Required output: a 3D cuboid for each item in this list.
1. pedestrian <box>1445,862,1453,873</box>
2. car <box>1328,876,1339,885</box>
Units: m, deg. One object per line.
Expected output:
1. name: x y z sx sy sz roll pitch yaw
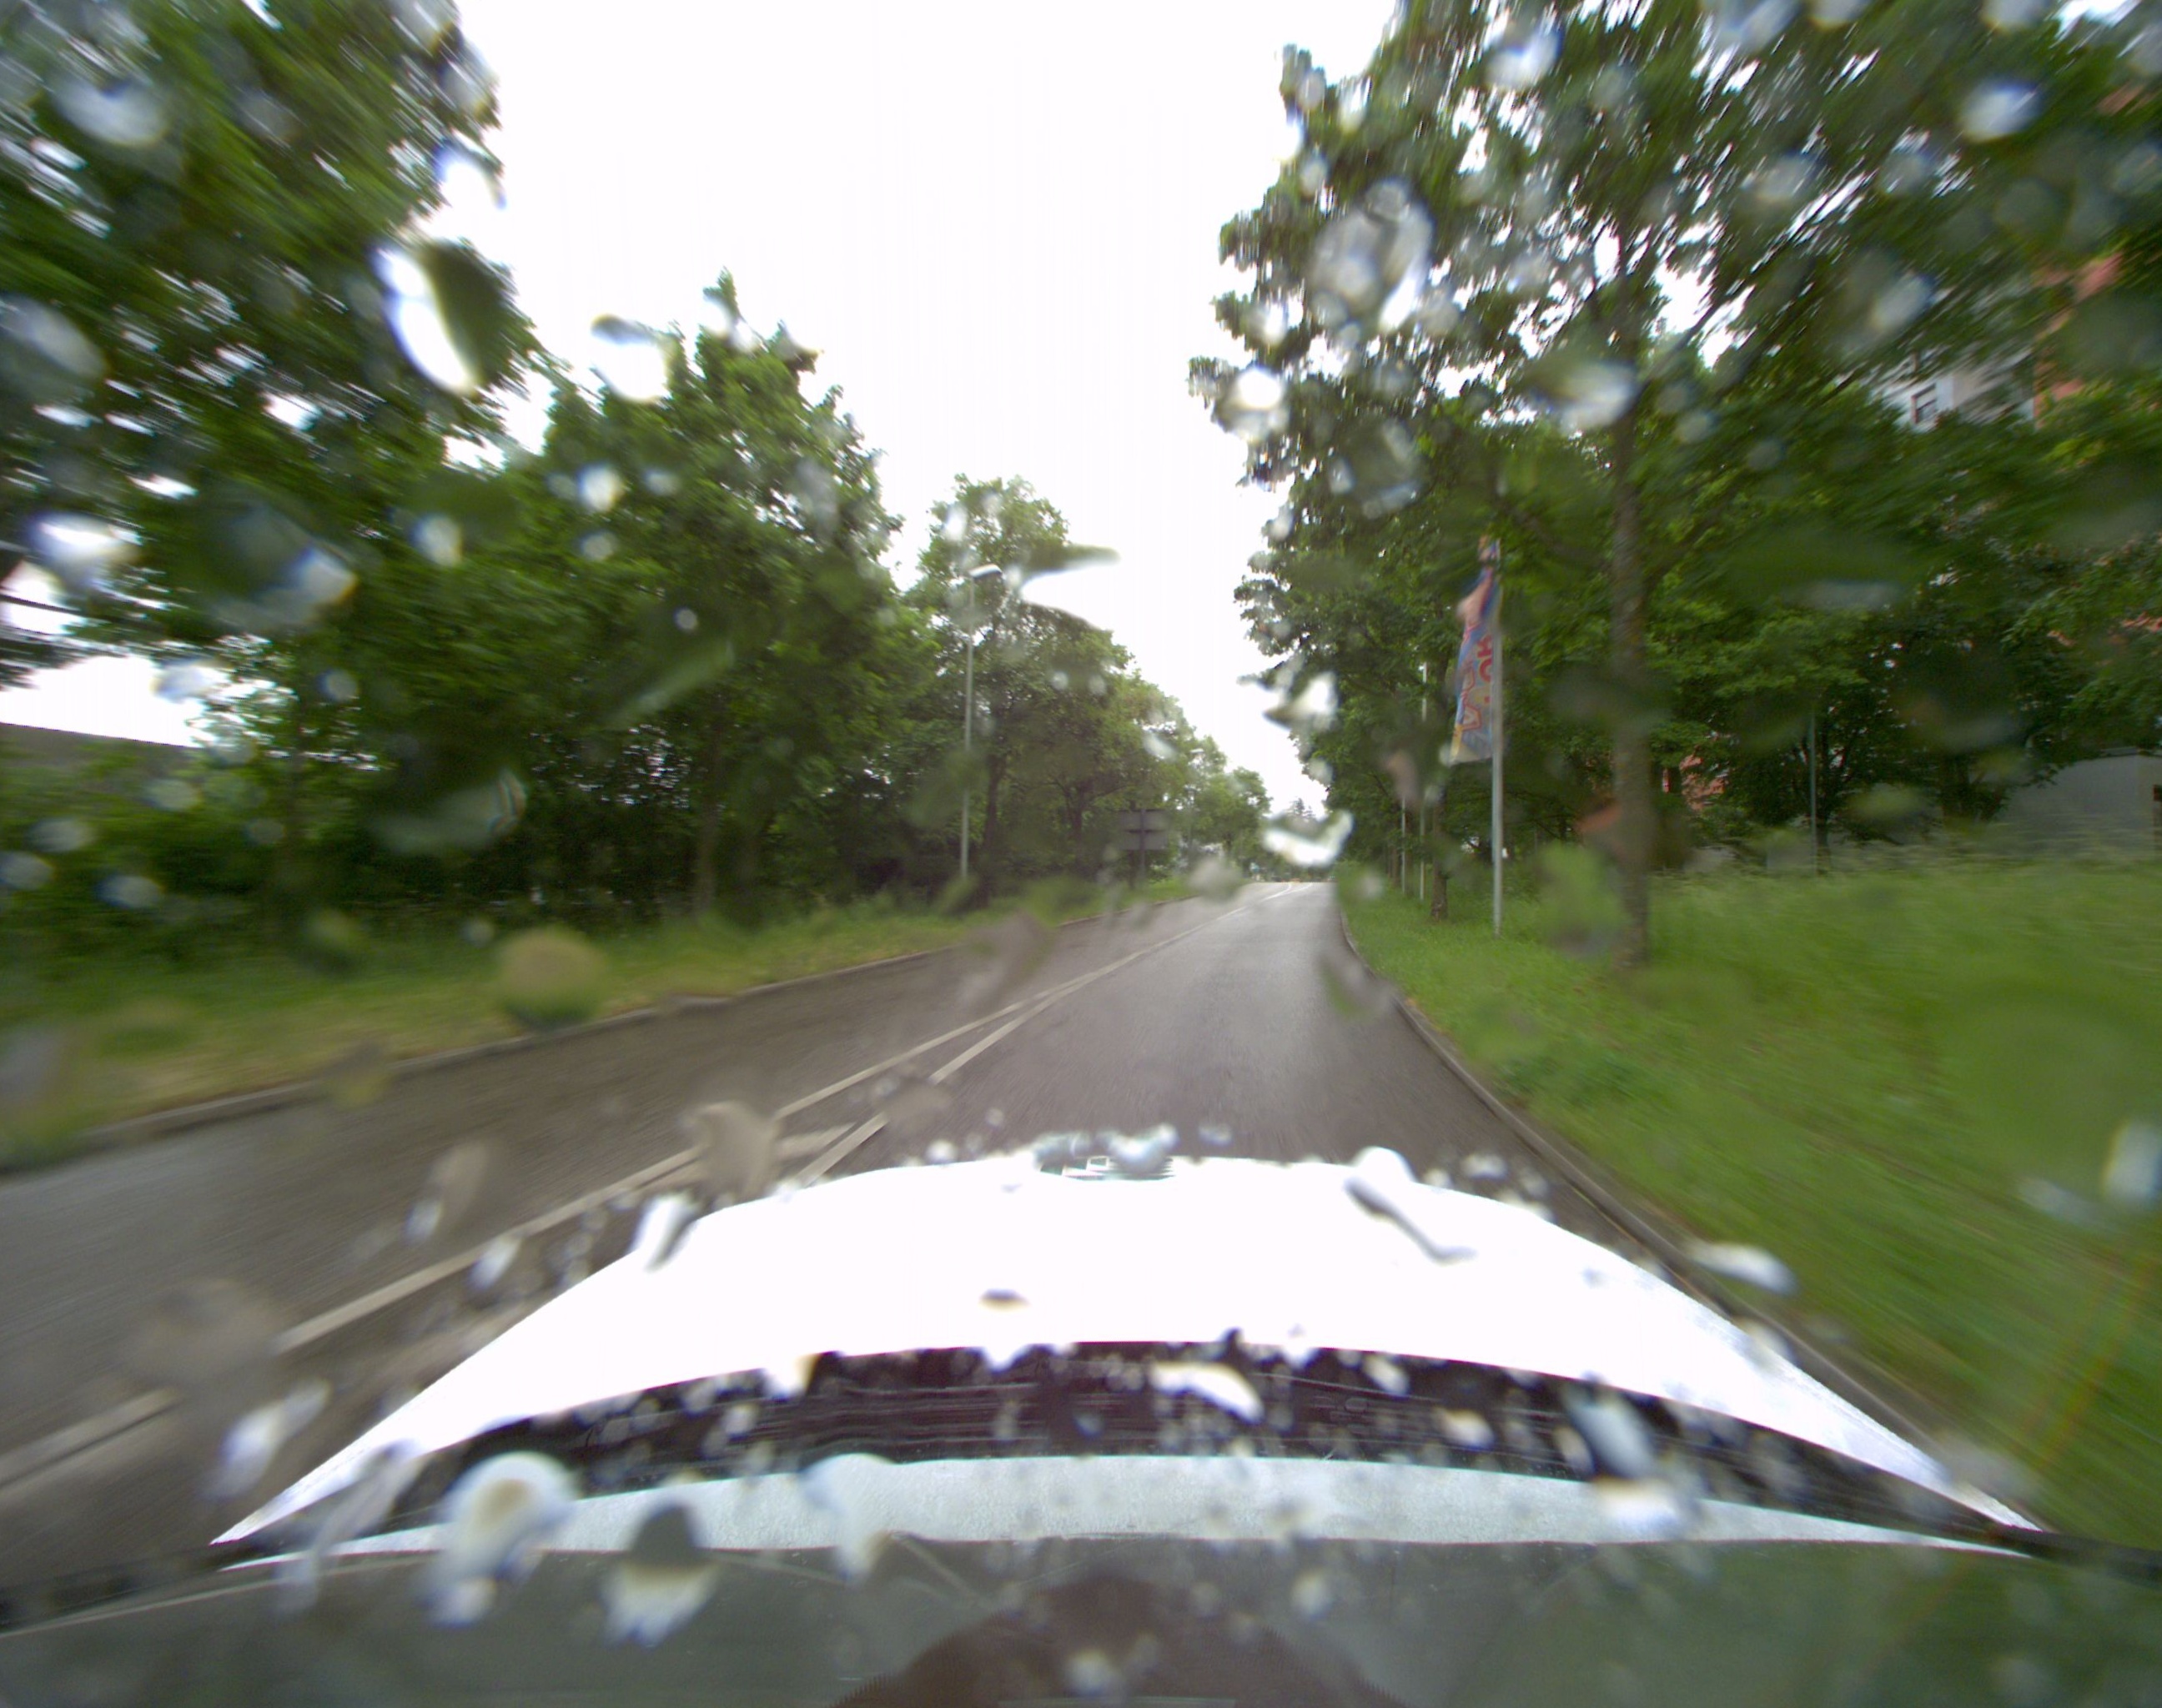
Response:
1. pedestrian: 40.892 1.501 90.520 0.649 1.284 0.628 -2 -2 20
2. car: 43.857 4.624 141.429 1.722 1.511 4.018 -2 -4 19
